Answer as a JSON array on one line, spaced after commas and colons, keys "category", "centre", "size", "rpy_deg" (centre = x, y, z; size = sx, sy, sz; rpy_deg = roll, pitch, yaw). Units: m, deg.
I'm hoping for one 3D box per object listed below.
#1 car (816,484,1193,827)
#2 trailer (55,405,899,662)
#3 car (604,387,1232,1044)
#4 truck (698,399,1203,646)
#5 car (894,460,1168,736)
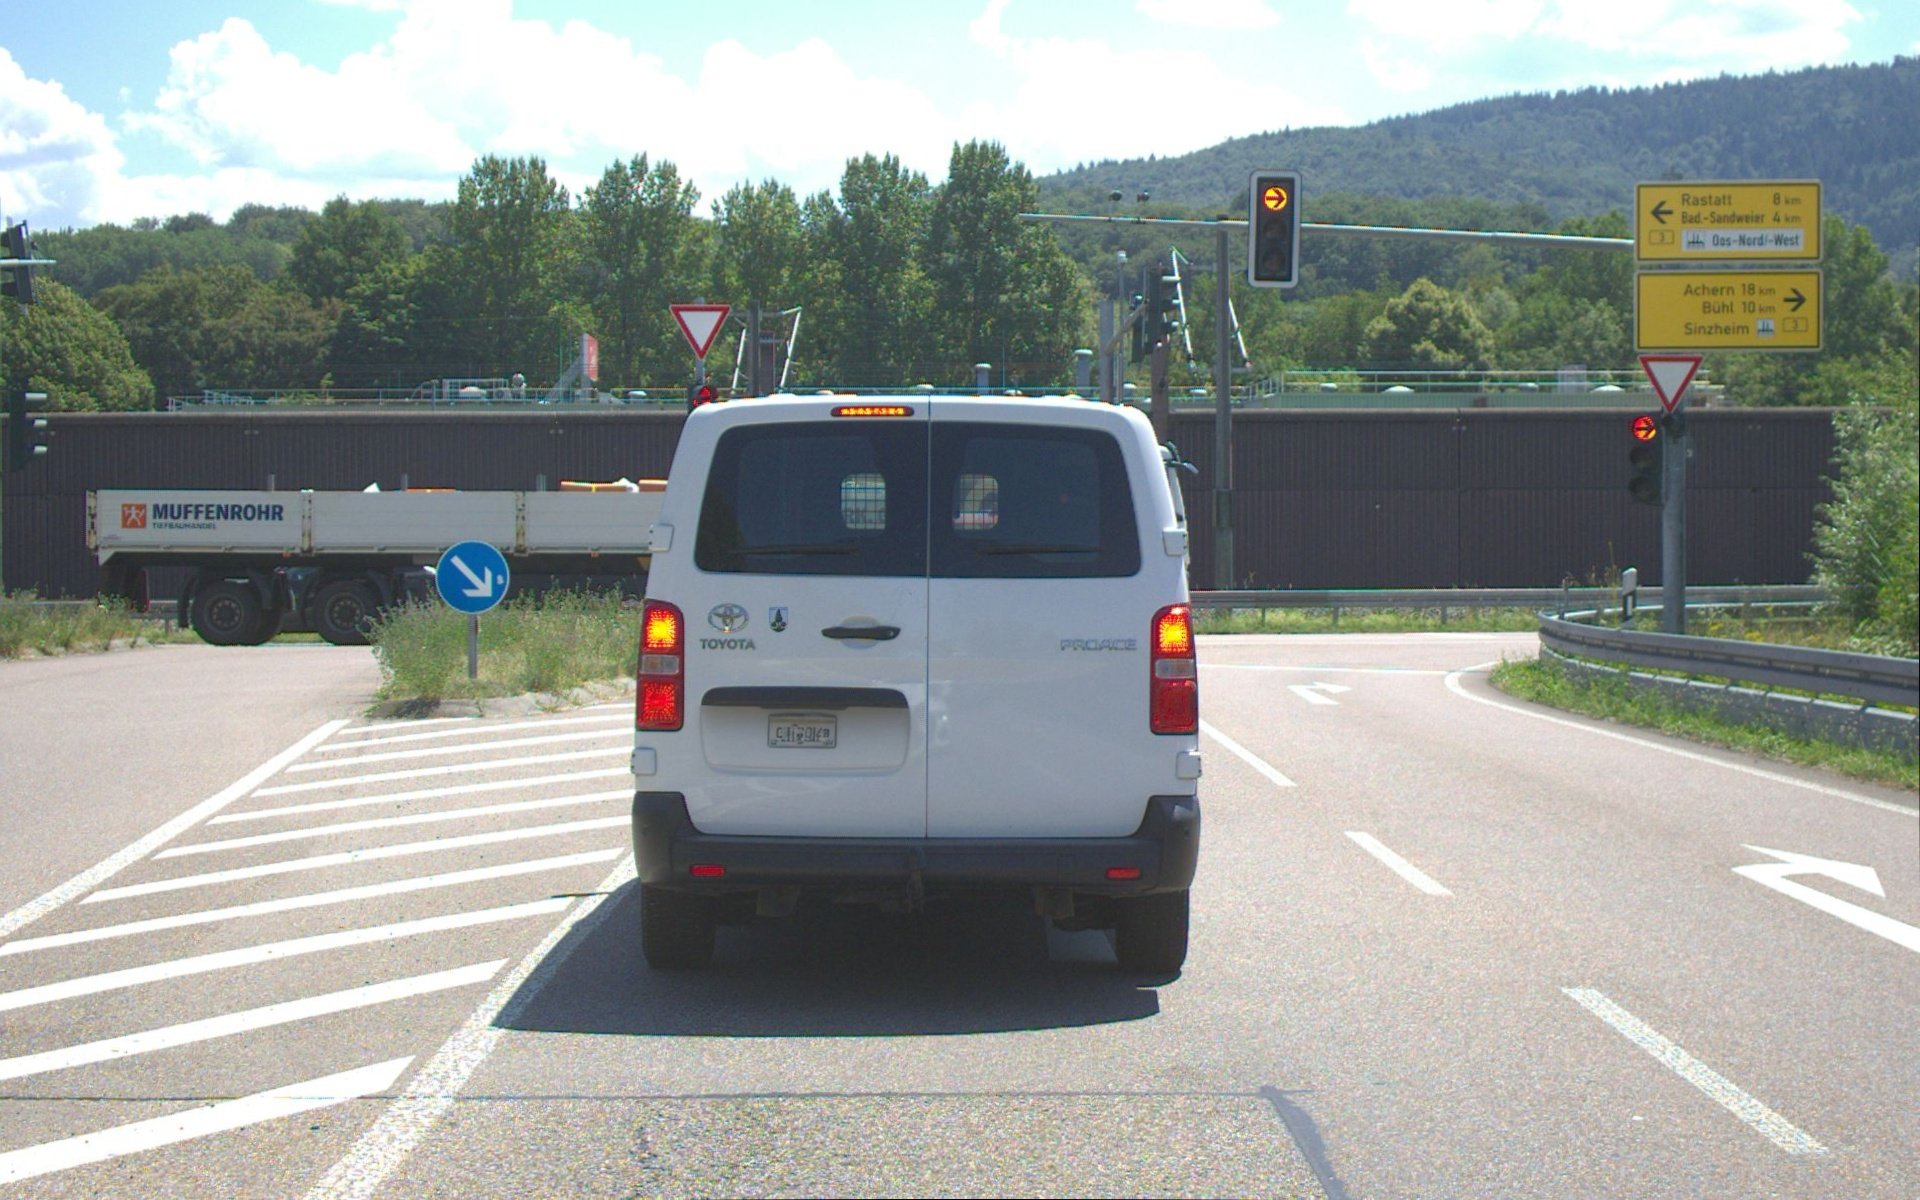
[{"category": "car", "centre": [0.231, 0.273, 20.569], "size": [1.993, 1.806, 4.000], "rpy_deg": [-1, 1, 0]}, {"category": "trailer", "centre": [-7.139, -1.033, 51.876], "size": [12.320, 3.492, 2.233], "rpy_deg": [-1, 2, -1]}, {"category": "car", "centre": [-0.149, 0.319, 12.347], "size": [1.870, 1.958, 4.000], "rpy_deg": [1, 1, -1]}, {"category": "truck", "centre": [-0.157, -1.195, 52.063], "size": [7.404, 3.492, 2.233], "rpy_deg": [-1, 2, -1]}, {"category": "car", "centre": [0.522, -0.039, 27.609], "size": [1.993, 2.006, 4.000], "rpy_deg": [-1, 1, 0]}]
